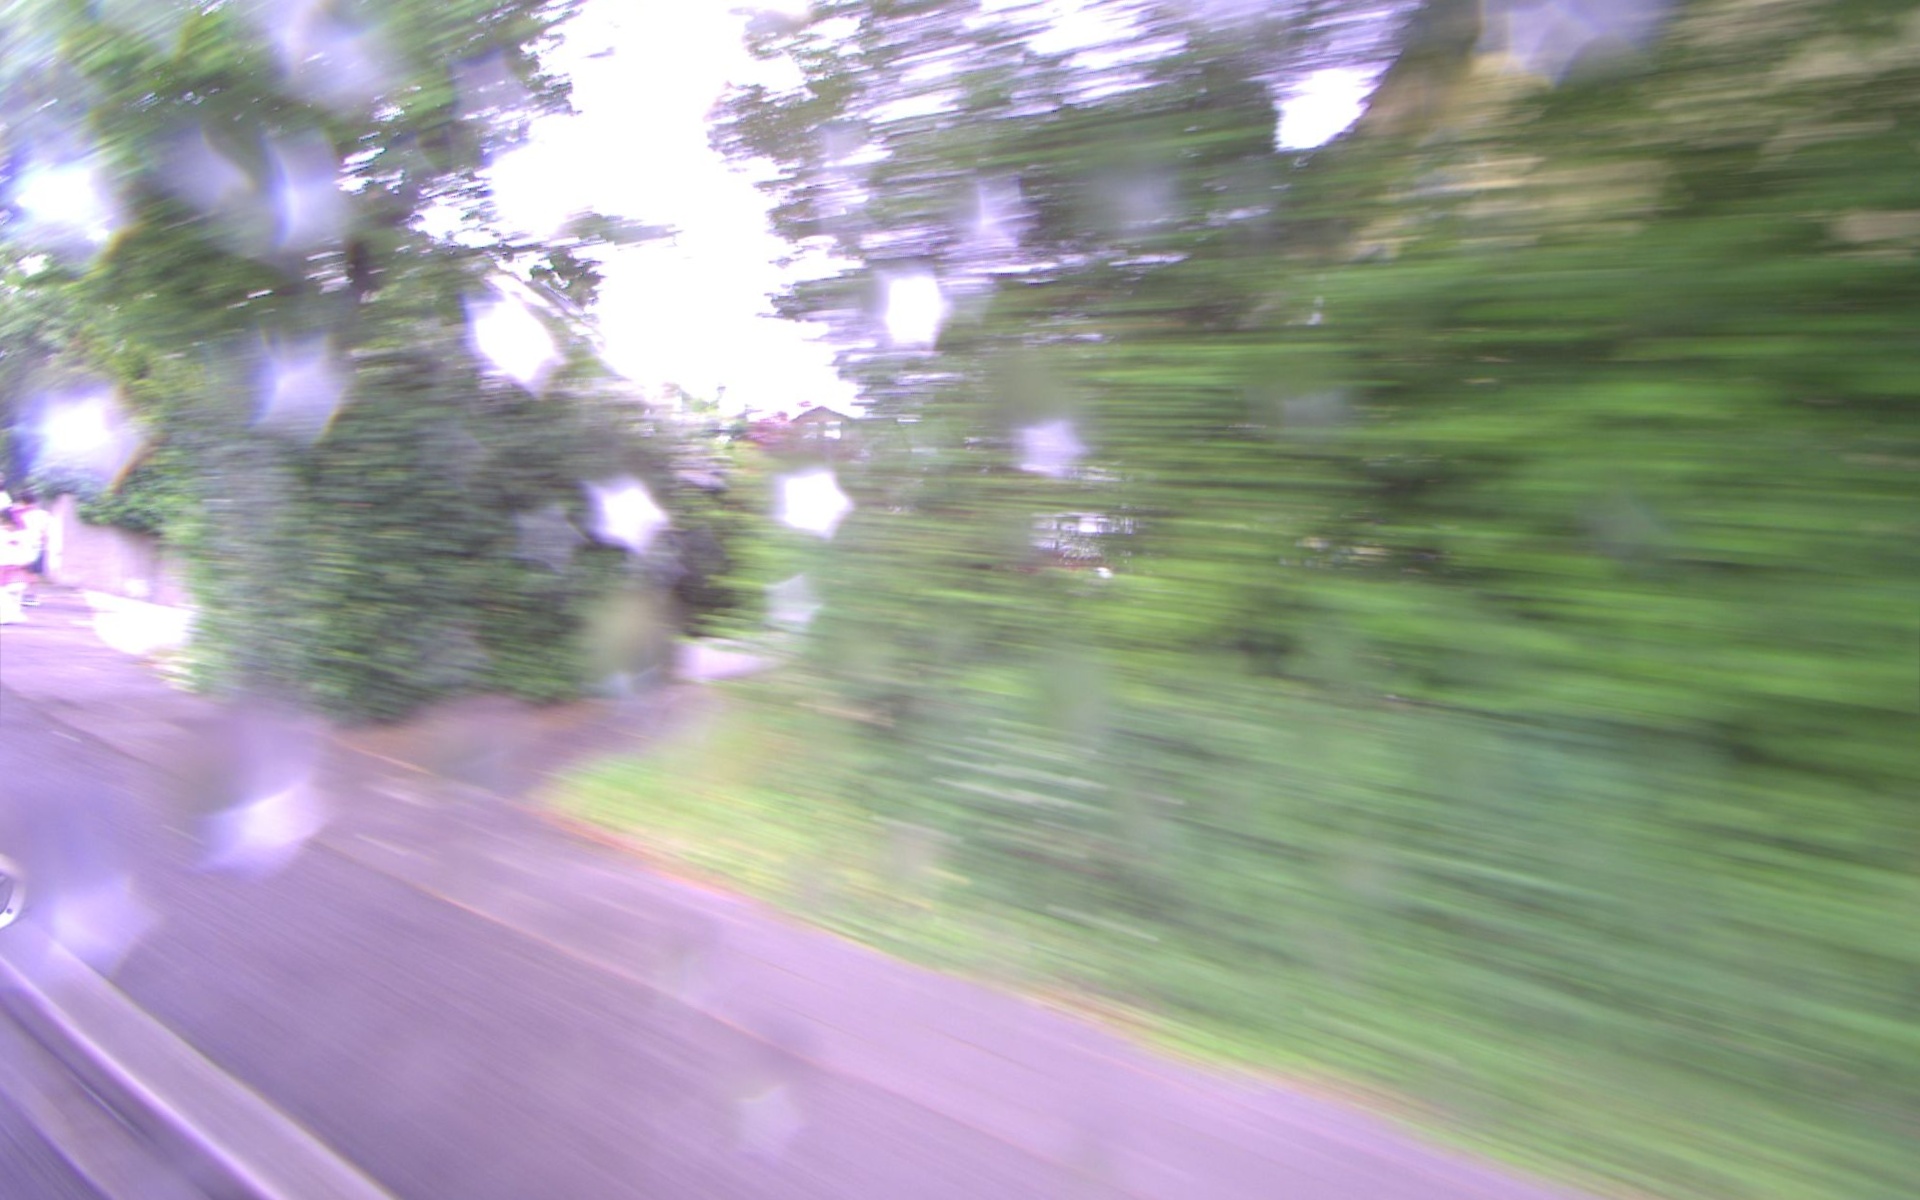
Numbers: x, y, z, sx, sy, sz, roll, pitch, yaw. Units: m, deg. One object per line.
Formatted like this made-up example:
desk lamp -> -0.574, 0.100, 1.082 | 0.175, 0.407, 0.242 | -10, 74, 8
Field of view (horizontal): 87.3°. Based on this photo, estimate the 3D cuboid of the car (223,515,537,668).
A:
car -> -8.263, 0.040, 14.967 | 1.756, 1.433, 4.620 | 6, -8, 2

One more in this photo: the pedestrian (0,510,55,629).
pedestrian -> -9.515, -0.306, 10.219 | 0.361, 1.161, 0.367 | 7, 2, 40

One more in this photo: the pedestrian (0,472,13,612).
pedestrian -> -11.498, -0.710, 11.655 | 0.637, 1.614, 0.609 | 7, 2, 40
